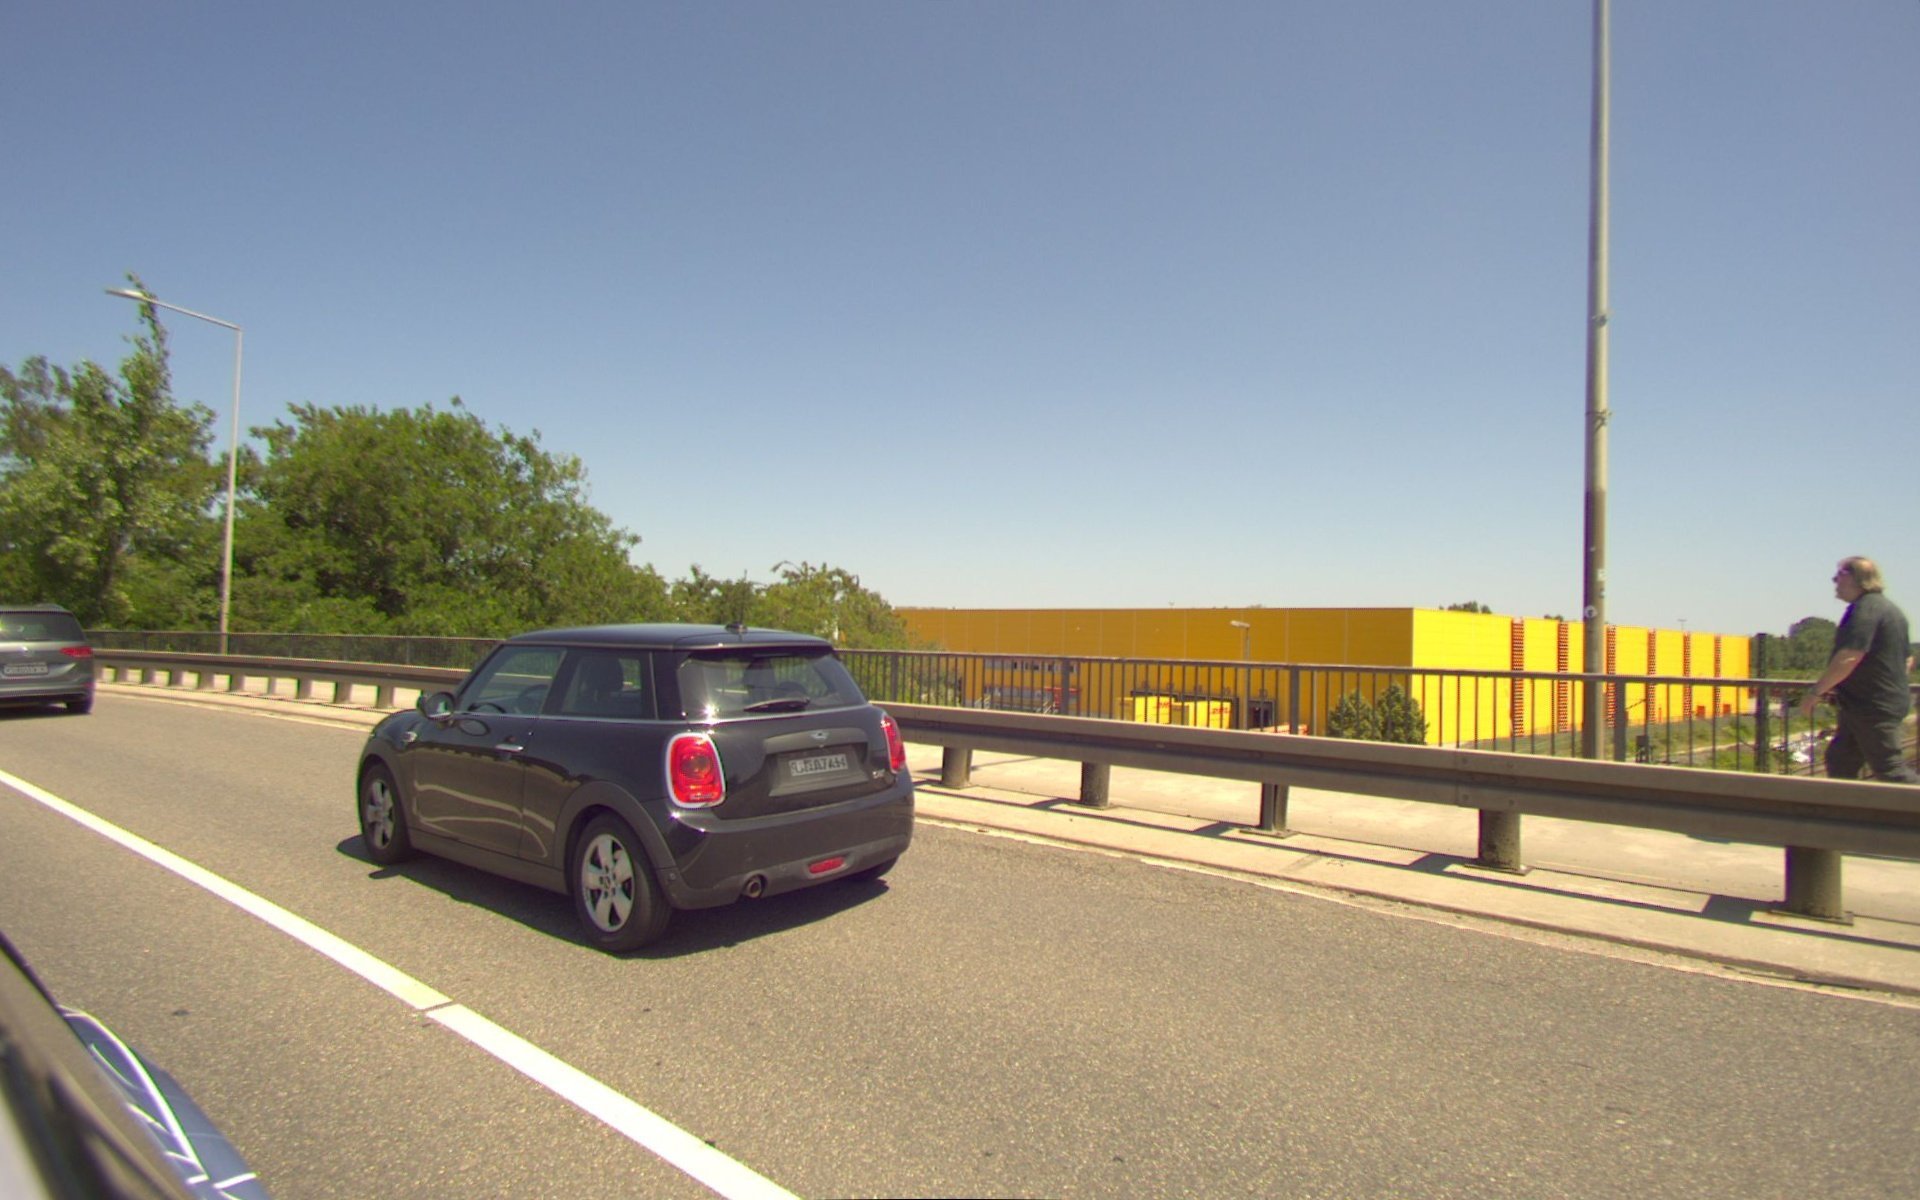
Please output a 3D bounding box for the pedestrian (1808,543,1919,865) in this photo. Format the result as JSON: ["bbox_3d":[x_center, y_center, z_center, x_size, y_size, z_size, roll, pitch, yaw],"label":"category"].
[{"bbox_3d":[5.501,0.579,5.917,0.811,1.796,0.632,0,0,39],"label":"pedestrian"}]

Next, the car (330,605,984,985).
[{"bbox_3d":[-1.891,0.781,5.774,3.770,1.430,1.771,0,-2,40],"label":"car"}]

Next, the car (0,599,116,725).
[{"bbox_3d":[-14.418,0.823,14.950,4.247,1.667,1.880,1,-1,34],"label":"car"}]
